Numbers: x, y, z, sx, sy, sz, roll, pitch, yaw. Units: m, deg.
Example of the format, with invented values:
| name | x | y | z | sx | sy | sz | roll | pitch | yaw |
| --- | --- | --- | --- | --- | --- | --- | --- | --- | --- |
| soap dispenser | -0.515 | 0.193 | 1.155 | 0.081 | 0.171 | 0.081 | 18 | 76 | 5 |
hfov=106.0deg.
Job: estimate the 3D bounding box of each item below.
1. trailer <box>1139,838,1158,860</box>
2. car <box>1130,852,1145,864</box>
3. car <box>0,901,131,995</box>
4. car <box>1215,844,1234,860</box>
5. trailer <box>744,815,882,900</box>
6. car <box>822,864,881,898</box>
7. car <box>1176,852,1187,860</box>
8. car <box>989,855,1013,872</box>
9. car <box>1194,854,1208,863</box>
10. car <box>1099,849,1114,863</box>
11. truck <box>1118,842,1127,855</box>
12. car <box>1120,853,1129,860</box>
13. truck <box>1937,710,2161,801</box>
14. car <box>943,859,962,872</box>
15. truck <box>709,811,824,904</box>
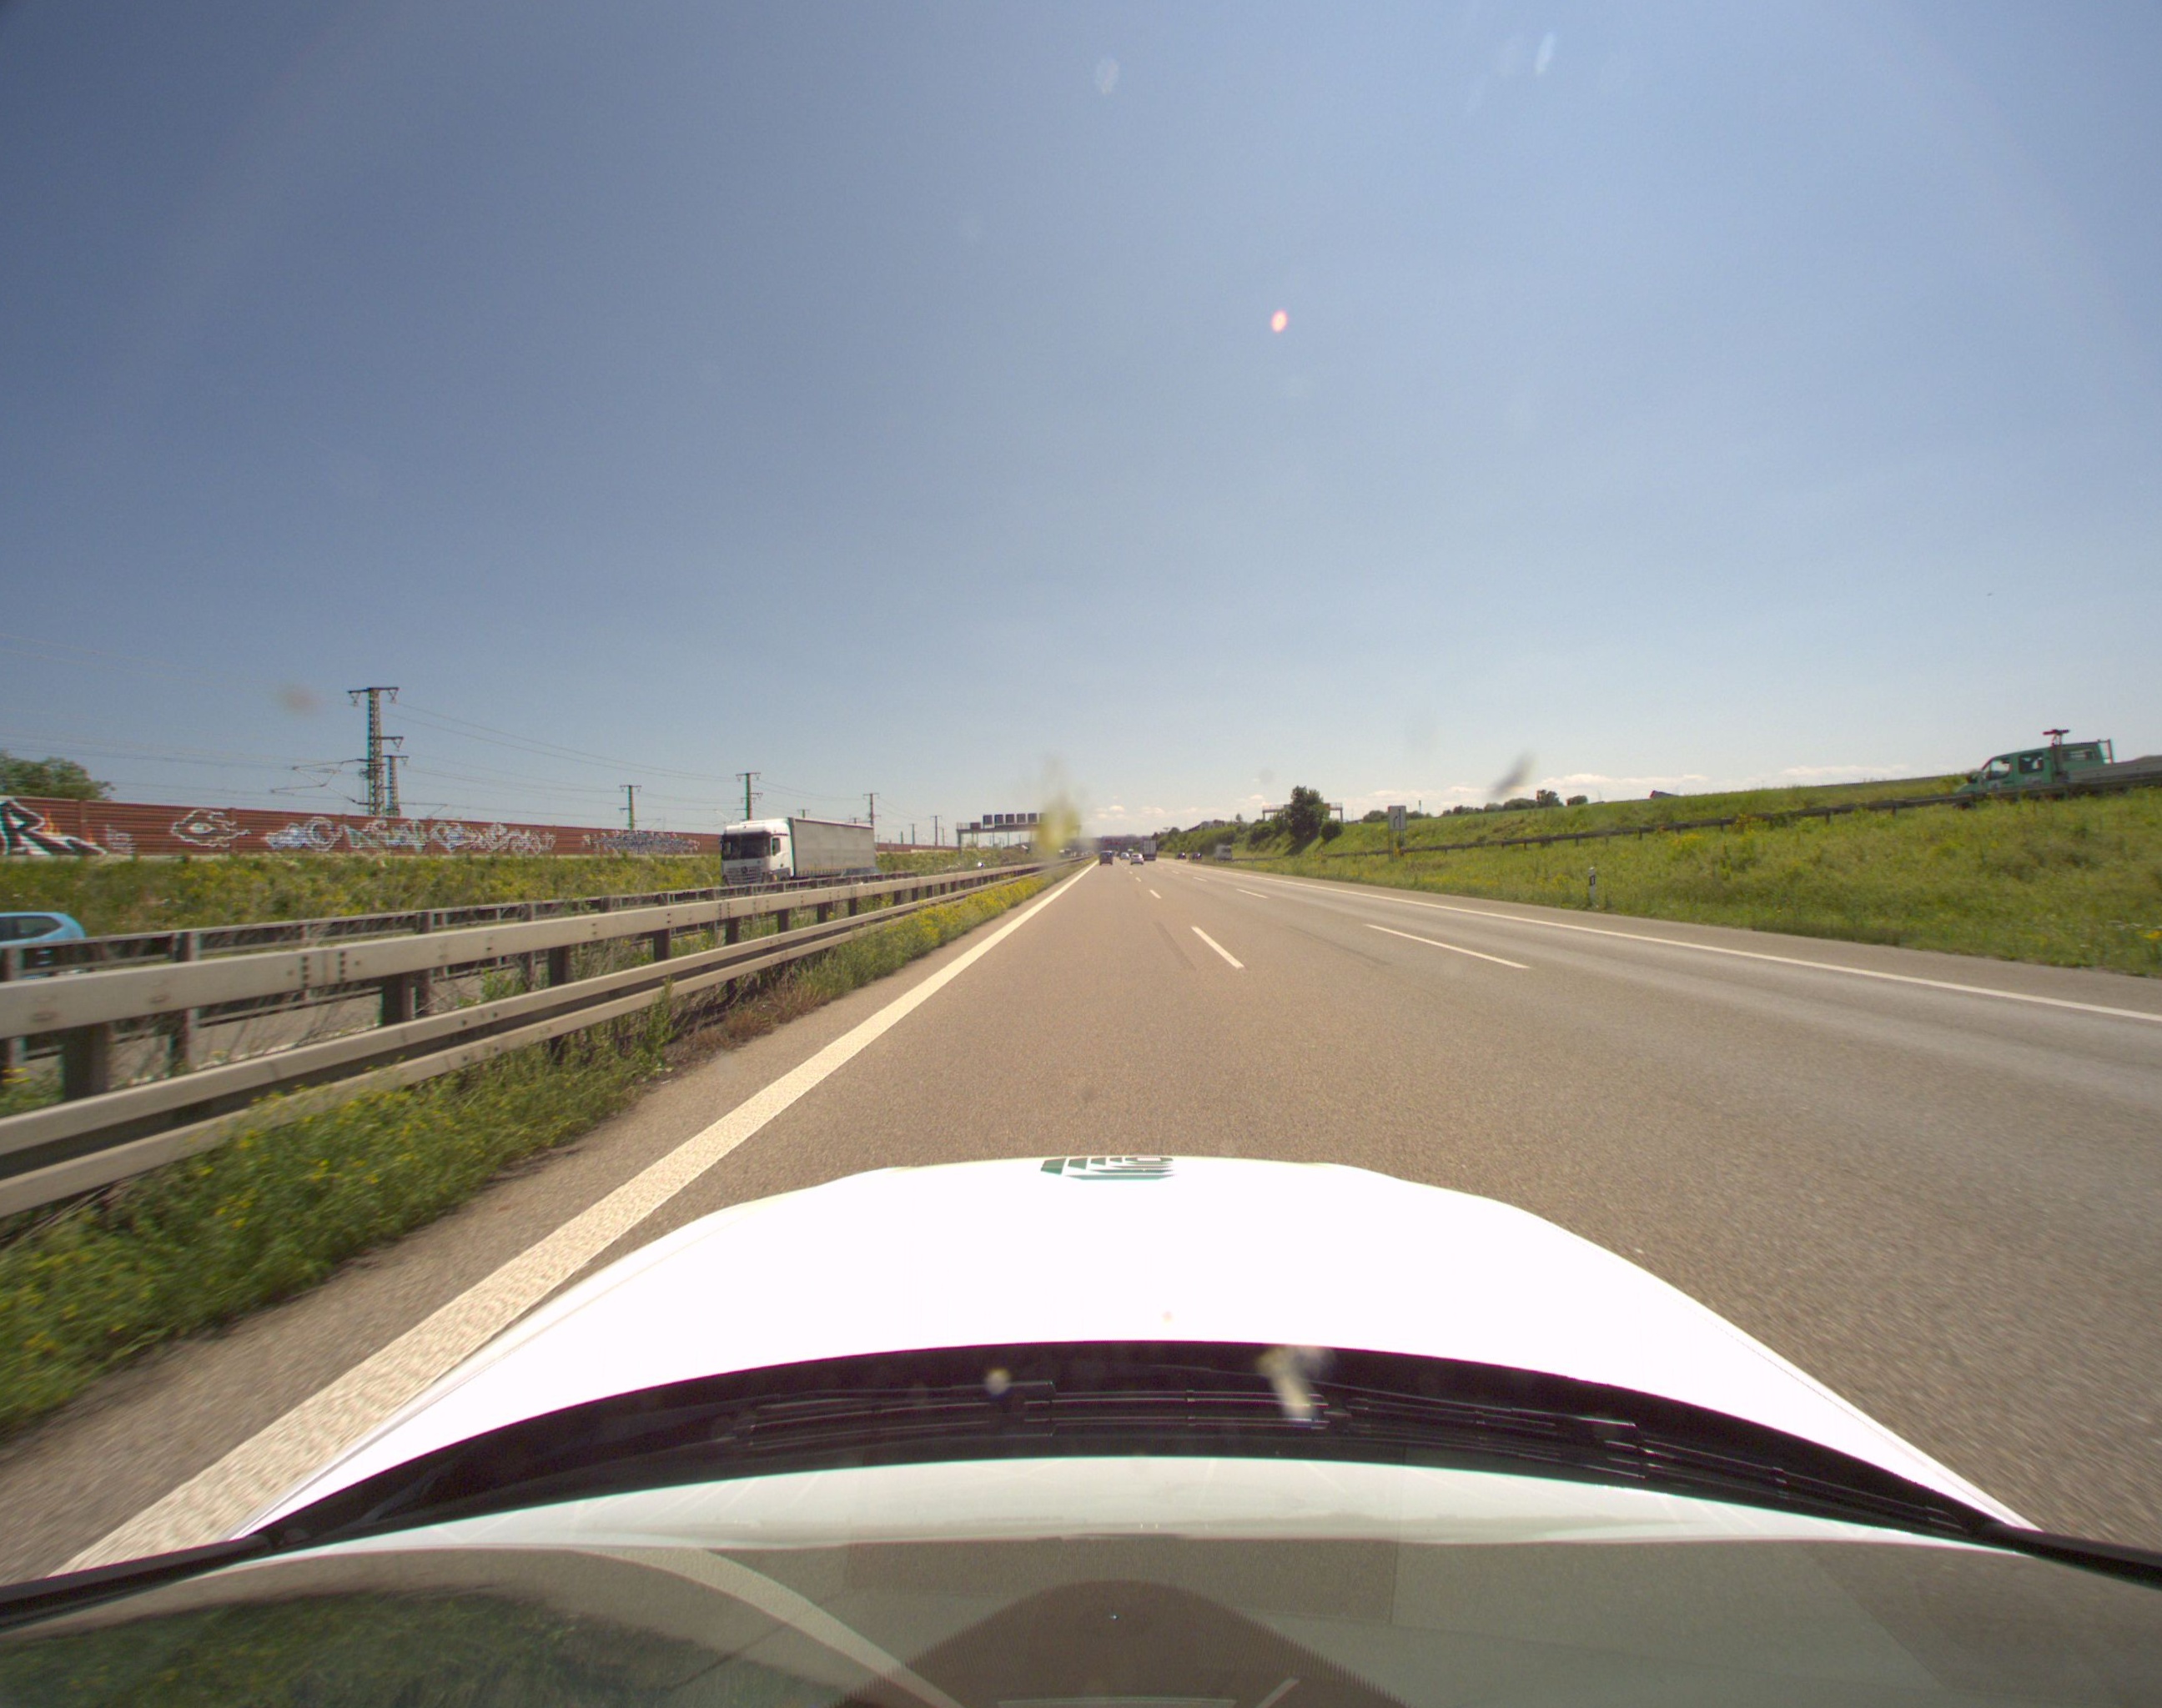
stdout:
| name | x | y | z | sx | sy | sz | roll | pitch | yaw |
| --- | --- | --- | --- | --- | --- | --- | --- | --- | --- |
| trailer | 12.747 | -0.958 | 154.711 | 3.165 | 4.059 | 9.444 | -2 | 0 | 2 |
| car | 7.672 | 0.586 | 109.975 | 1.872 | 1.526 | 4.005 | -1 | -1 | 5 |
| car | -19.482 | 1.691 | 13.974 | 1.747 | 1.519 | 3.838 | -1 | 0 | 2 |
| car | 23.551 | -0.346 | 133.690 | 2.266 | 2.528 | 5.400 | -1 | 0 | 1 |
| trailer | -14.825 | 0.168 | 46.734 | 2.719 | 4.074 | 13.539 | -2 | 0 | 3 |
| car | -11.136 | 1.283 | 39.785 | 1.638 | 1.461 | 3.839 | -1 | 0 | 3 |
| car | 21.338 | 0.462 | 173.274 | 1.986 | 1.596 | 4.001 | 0 | -1 | 1 |
| car | -7.219 | 0.867 | 74.067 | 1.639 | 1.479 | 3.816 | -1 | 0 | 2 |
| car | 22.463 | 0.881 | 152.953 | 1.987 | 1.508 | 3.998 | 0 | -1 | 0 |
| car | 3.433 | 0.278 | 108.420 | 1.873 | 1.775 | 4.002 | -2 | -1 | 2 |
| truck | 11.249 | -1.455 | 219.370 | 2.346 | 3.416 | 6.060 | -1 | 0 | 2 |
| car | 9.430 | 0.619 | 176.775 | 1.873 | 1.526 | 4.003 | -1 | -1 | 3 |
| truck | 30.231 | -2.878 | 24.557 | 2.160 | 2.092 | 6.110 | -1 | 0 | -4 |
| car | -16.918 | 1.525 | 107.082 | 1.714 | 1.544 | 3.811 | -1 | 0 | 2 |
| truck | -15.144 | 0.164 | 39.775 | 2.719 | 4.072 | 6.385 | -2 | 0 | 3 |
